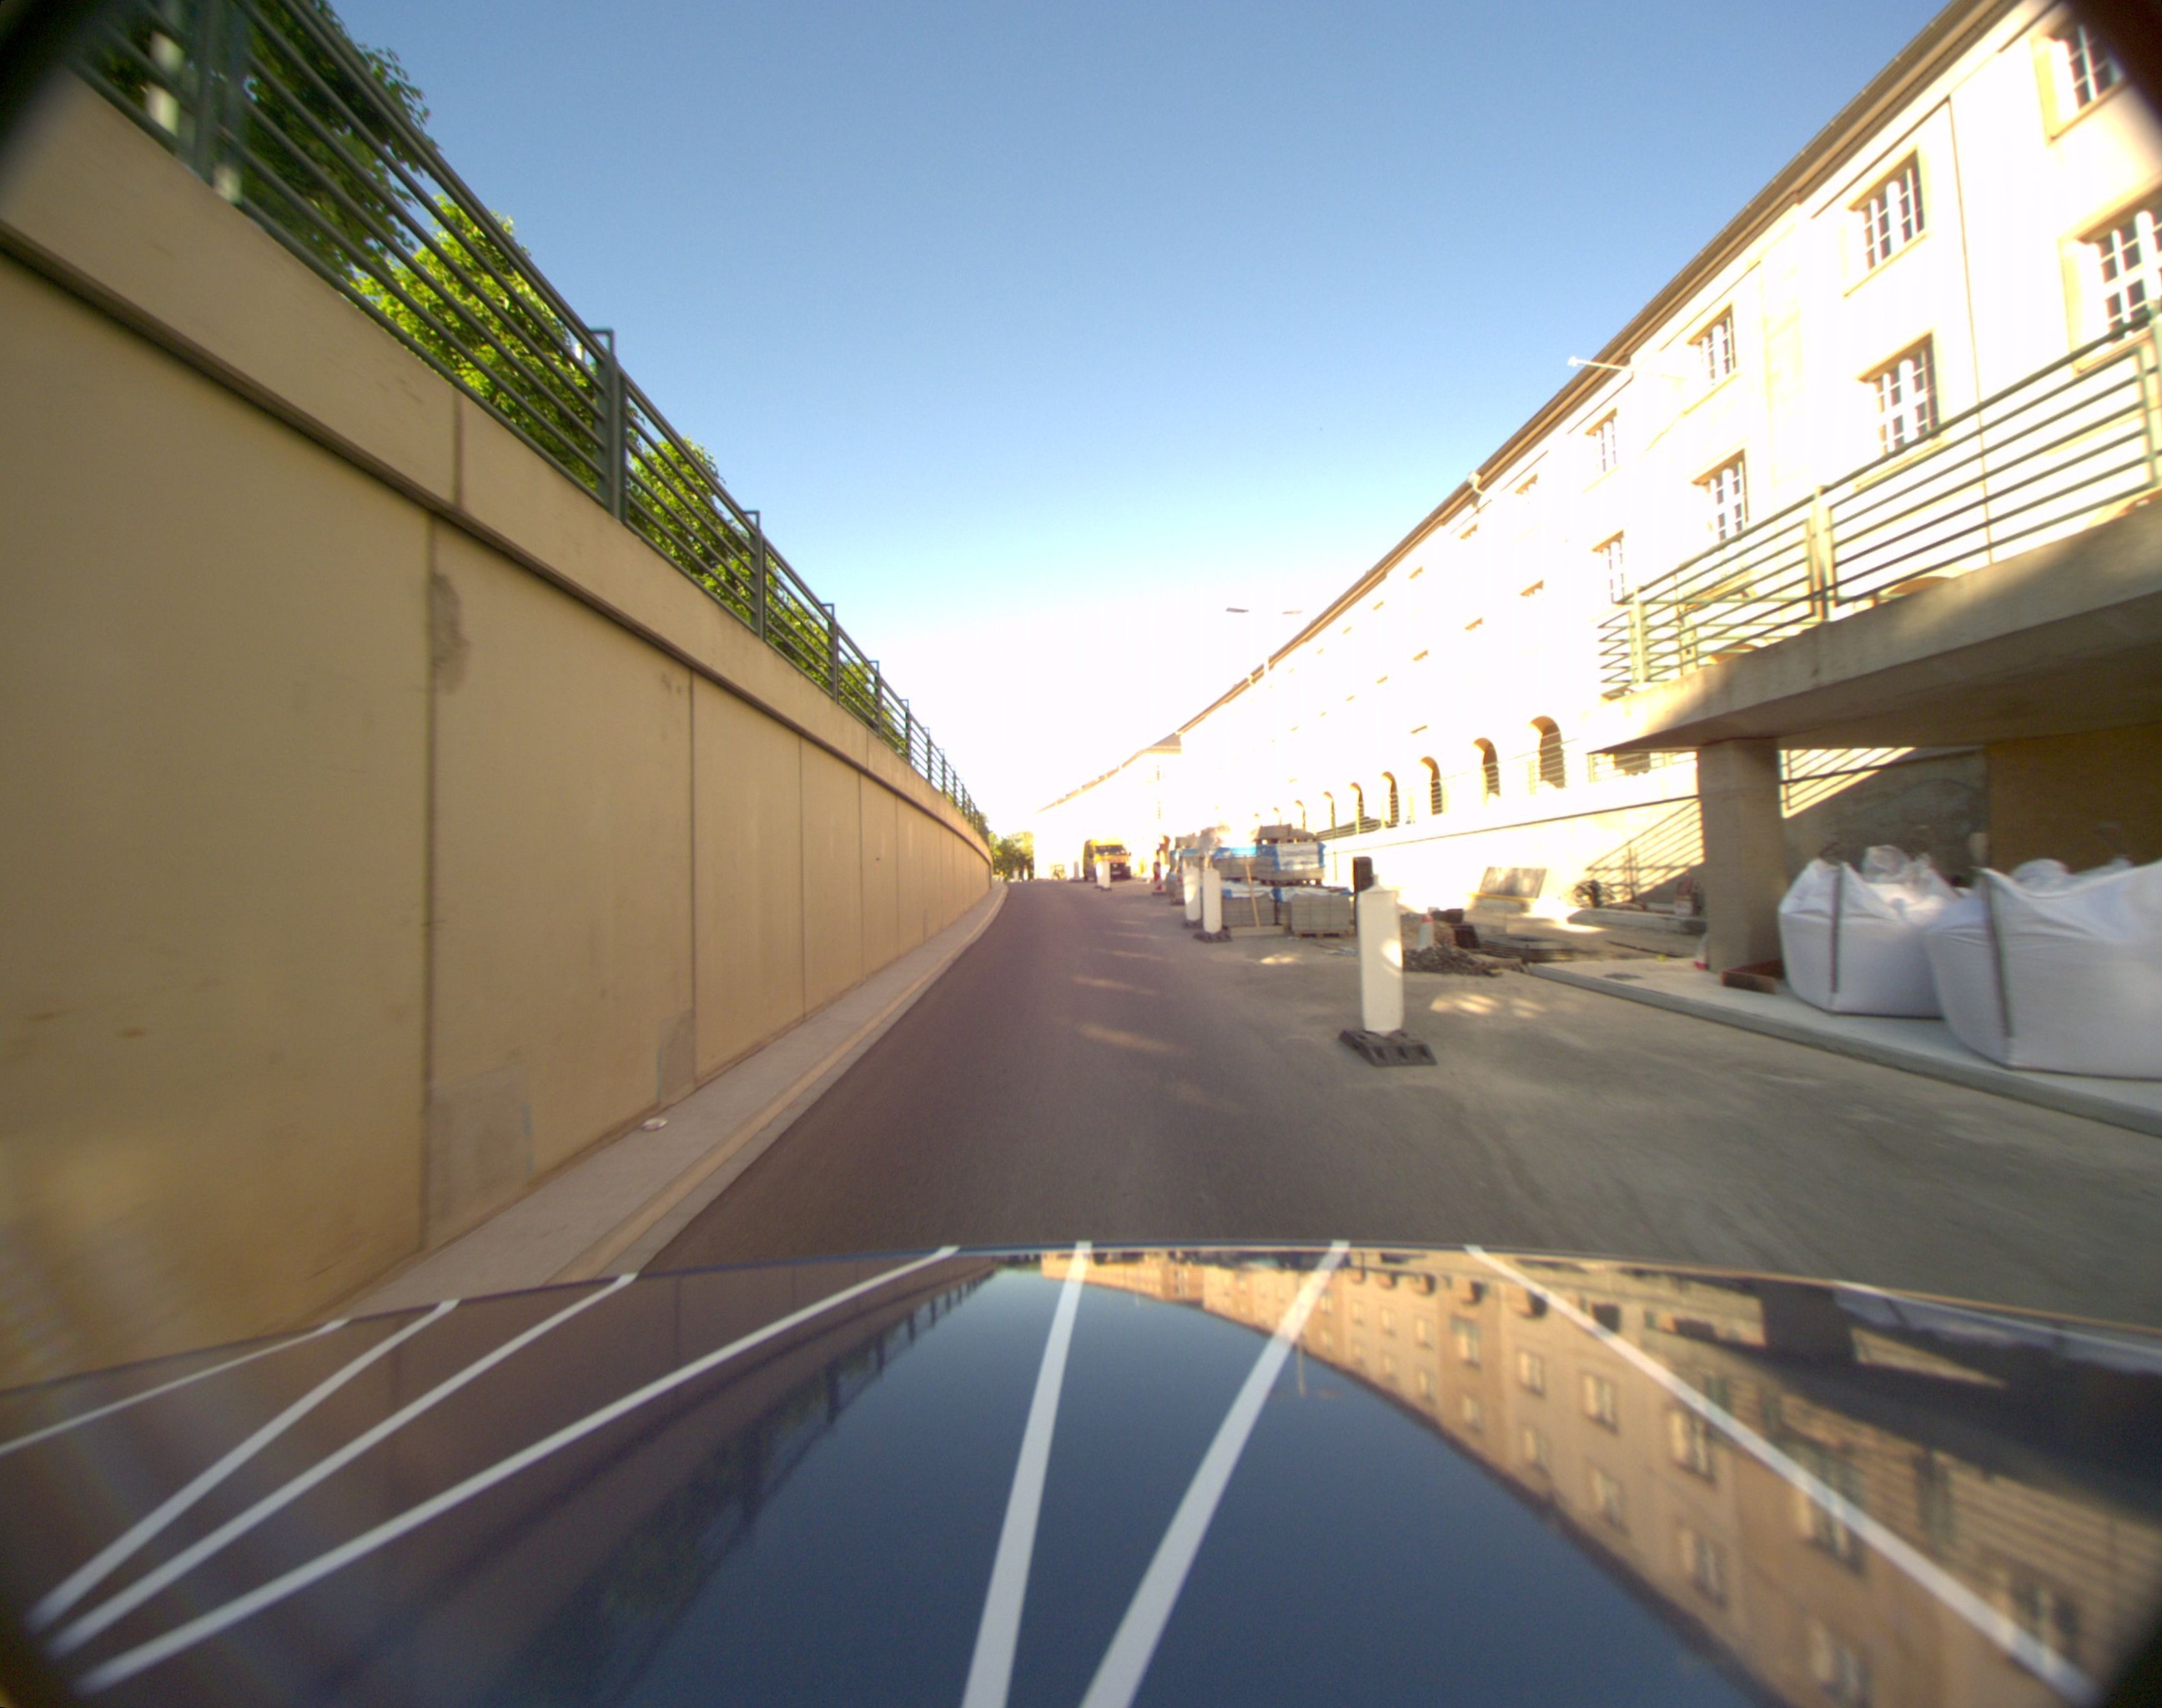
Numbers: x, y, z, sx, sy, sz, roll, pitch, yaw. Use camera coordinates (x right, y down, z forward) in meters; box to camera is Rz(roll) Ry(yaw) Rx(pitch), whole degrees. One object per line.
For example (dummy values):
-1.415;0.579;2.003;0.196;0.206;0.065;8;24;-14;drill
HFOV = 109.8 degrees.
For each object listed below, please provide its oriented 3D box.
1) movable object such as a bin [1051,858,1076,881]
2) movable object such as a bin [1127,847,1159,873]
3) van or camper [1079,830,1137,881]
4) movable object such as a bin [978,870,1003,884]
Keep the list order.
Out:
-2.072;1.855;88.168;1.797;2.437;4.532;0;-3;-16;movable object such as a bin
5.769;0.597;71.348;2.106;2.380;4.306;0;-2;-9;movable object such as a bin
1.448;0.085;44.111;2.200;2.597;6.821;-4;0;-7;van or camper
-13.448;3.439;112.761;3.248;2.064;2.107;0;-3;-26;movable object such as a bin
